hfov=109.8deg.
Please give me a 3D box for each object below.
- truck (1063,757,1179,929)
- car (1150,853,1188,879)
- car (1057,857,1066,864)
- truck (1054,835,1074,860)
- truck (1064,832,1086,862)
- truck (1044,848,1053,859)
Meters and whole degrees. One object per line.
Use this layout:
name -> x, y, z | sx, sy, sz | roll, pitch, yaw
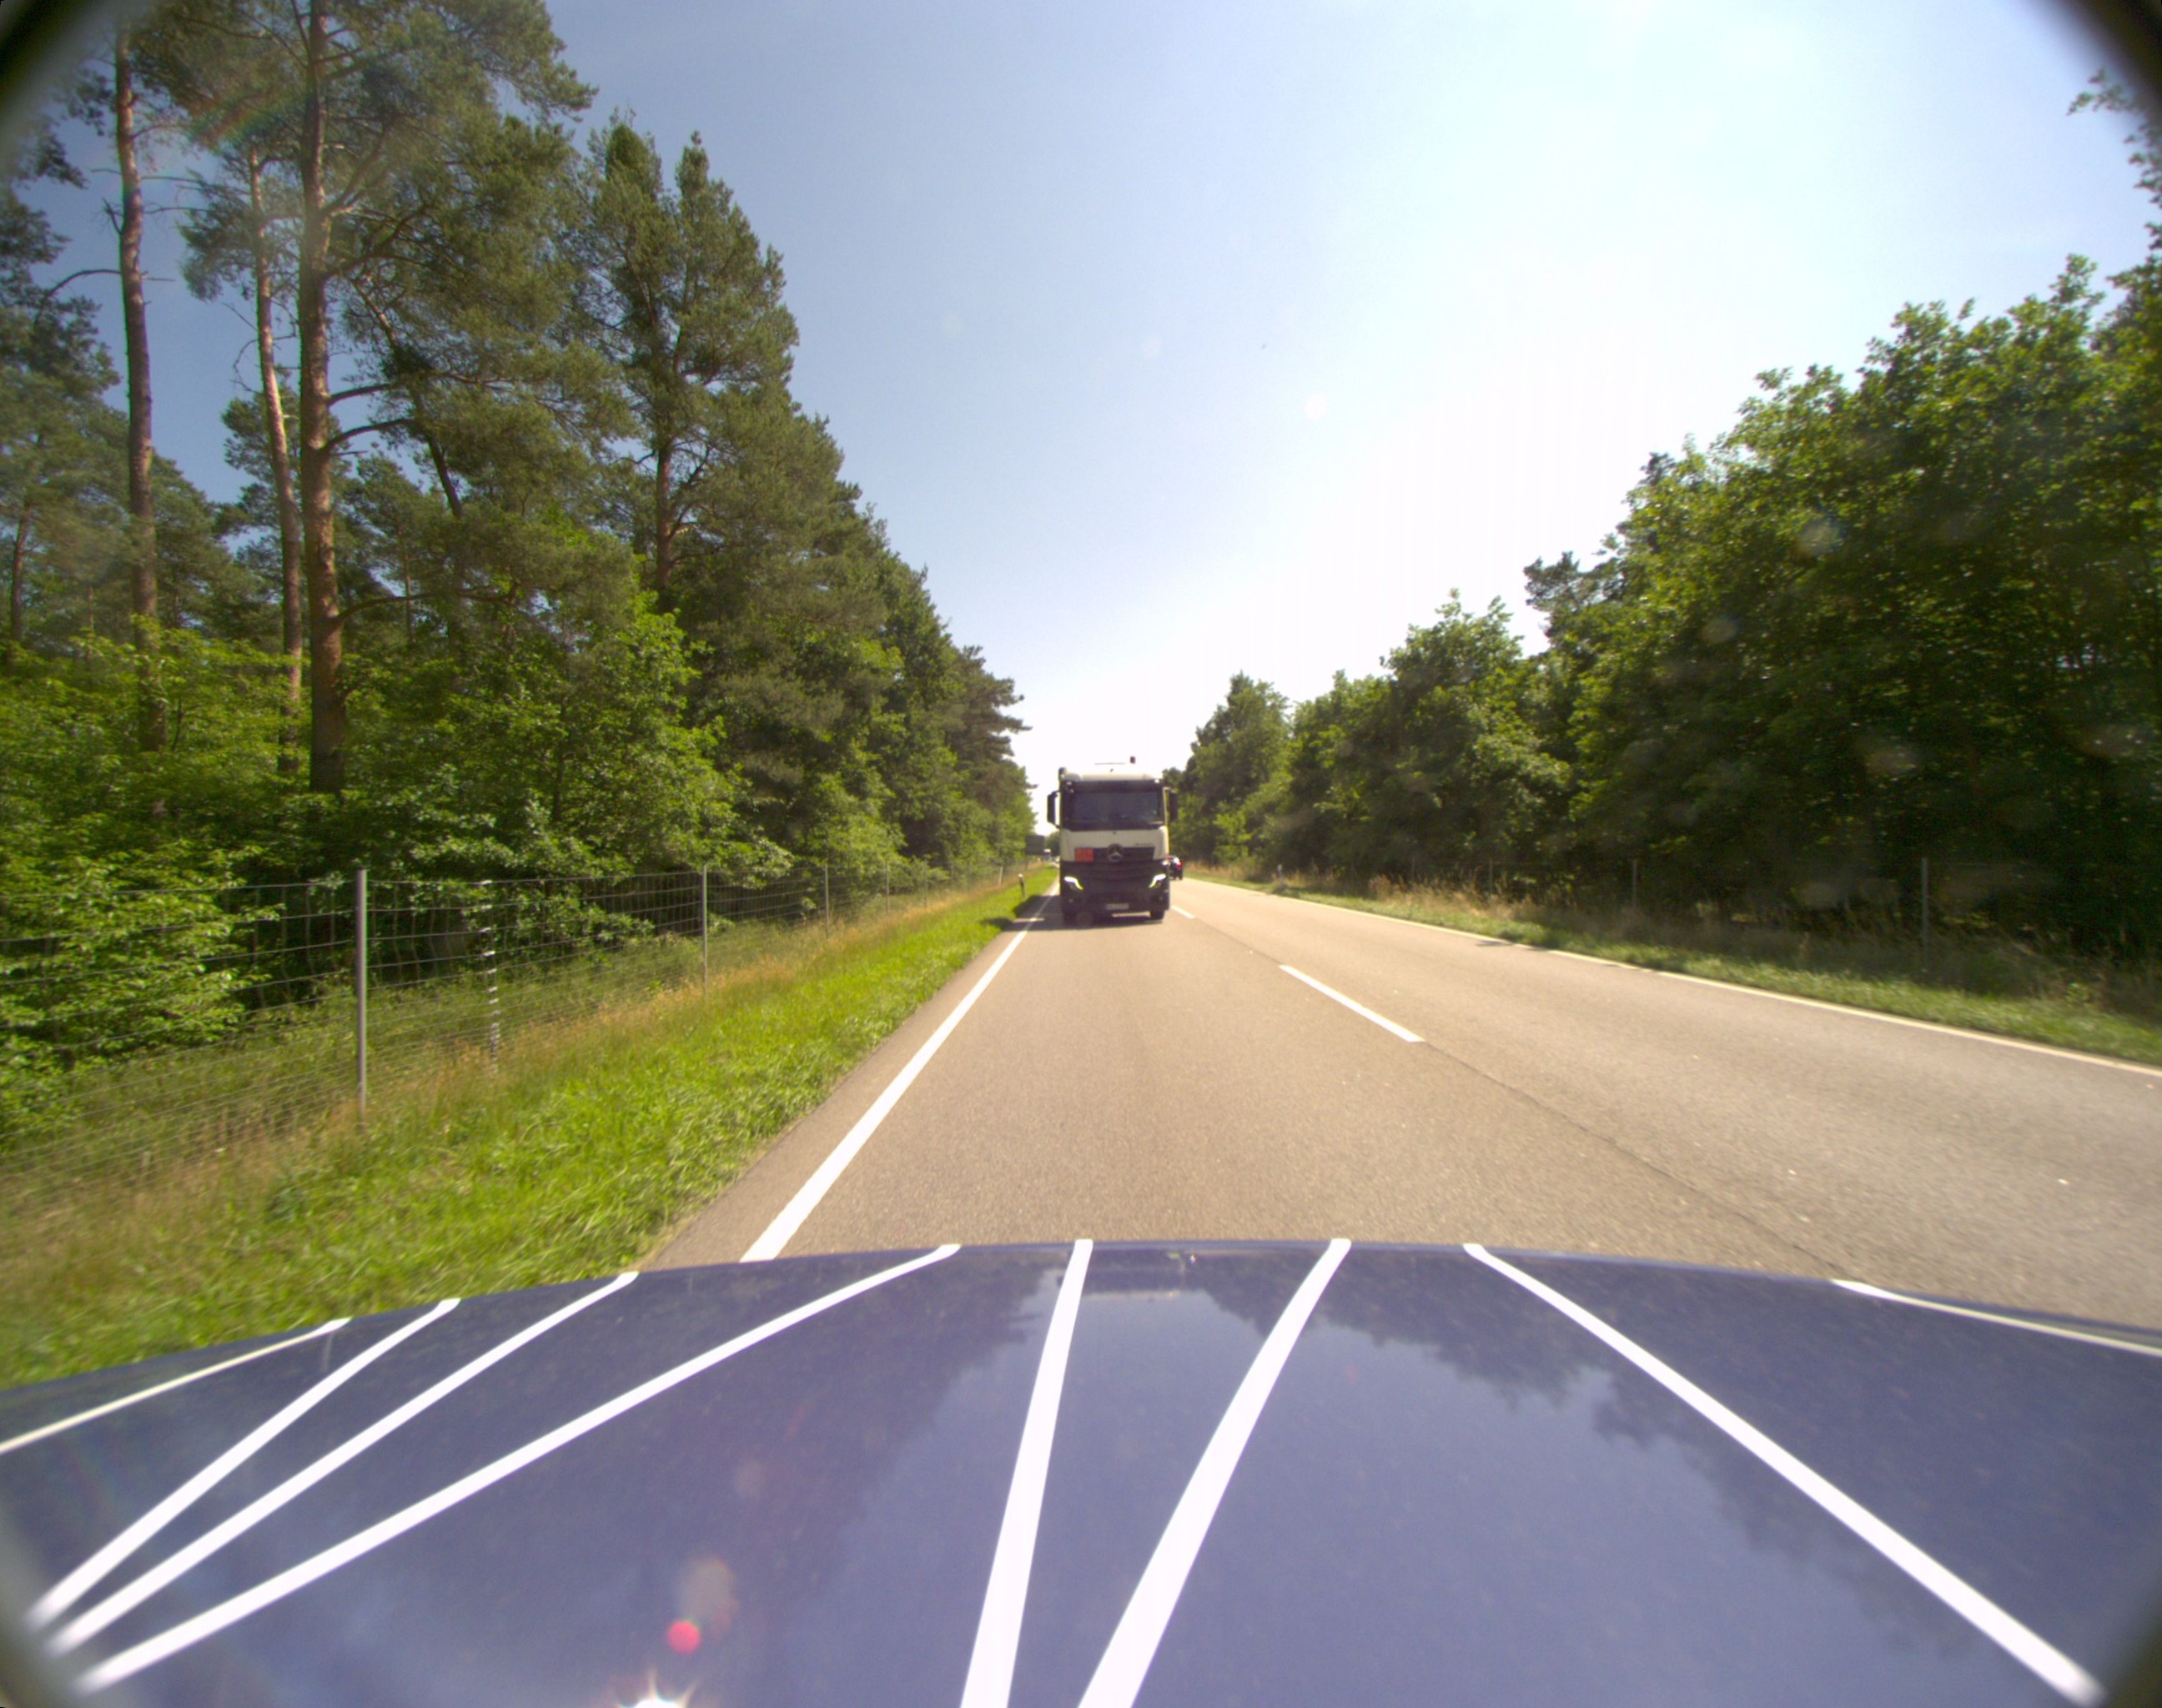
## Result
truck -> 0.796, -0.230, 19.808 | 2.435, 3.672, 6.456 | -2, 0, -1
car -> 5.265, 0.694, 45.702 | 1.733, 1.447, 4.061 | -1, 0, -1
car -> -4.377, 1.328, 167.493 | 1.885, 1.461, 3.999 | -1, 0, -2
truck -> -2.516, -0.927, 114.102 | 2.494, 3.619, 6.104 | -2, 0, 1
truck -> -0.702, -0.851, 98.405 | 2.494, 3.619, 6.104 | -2, 0, 1
truck -> -10.789, -0.154, 248.750 | 2.495, 3.619, 6.100 | -1, 0, -6
